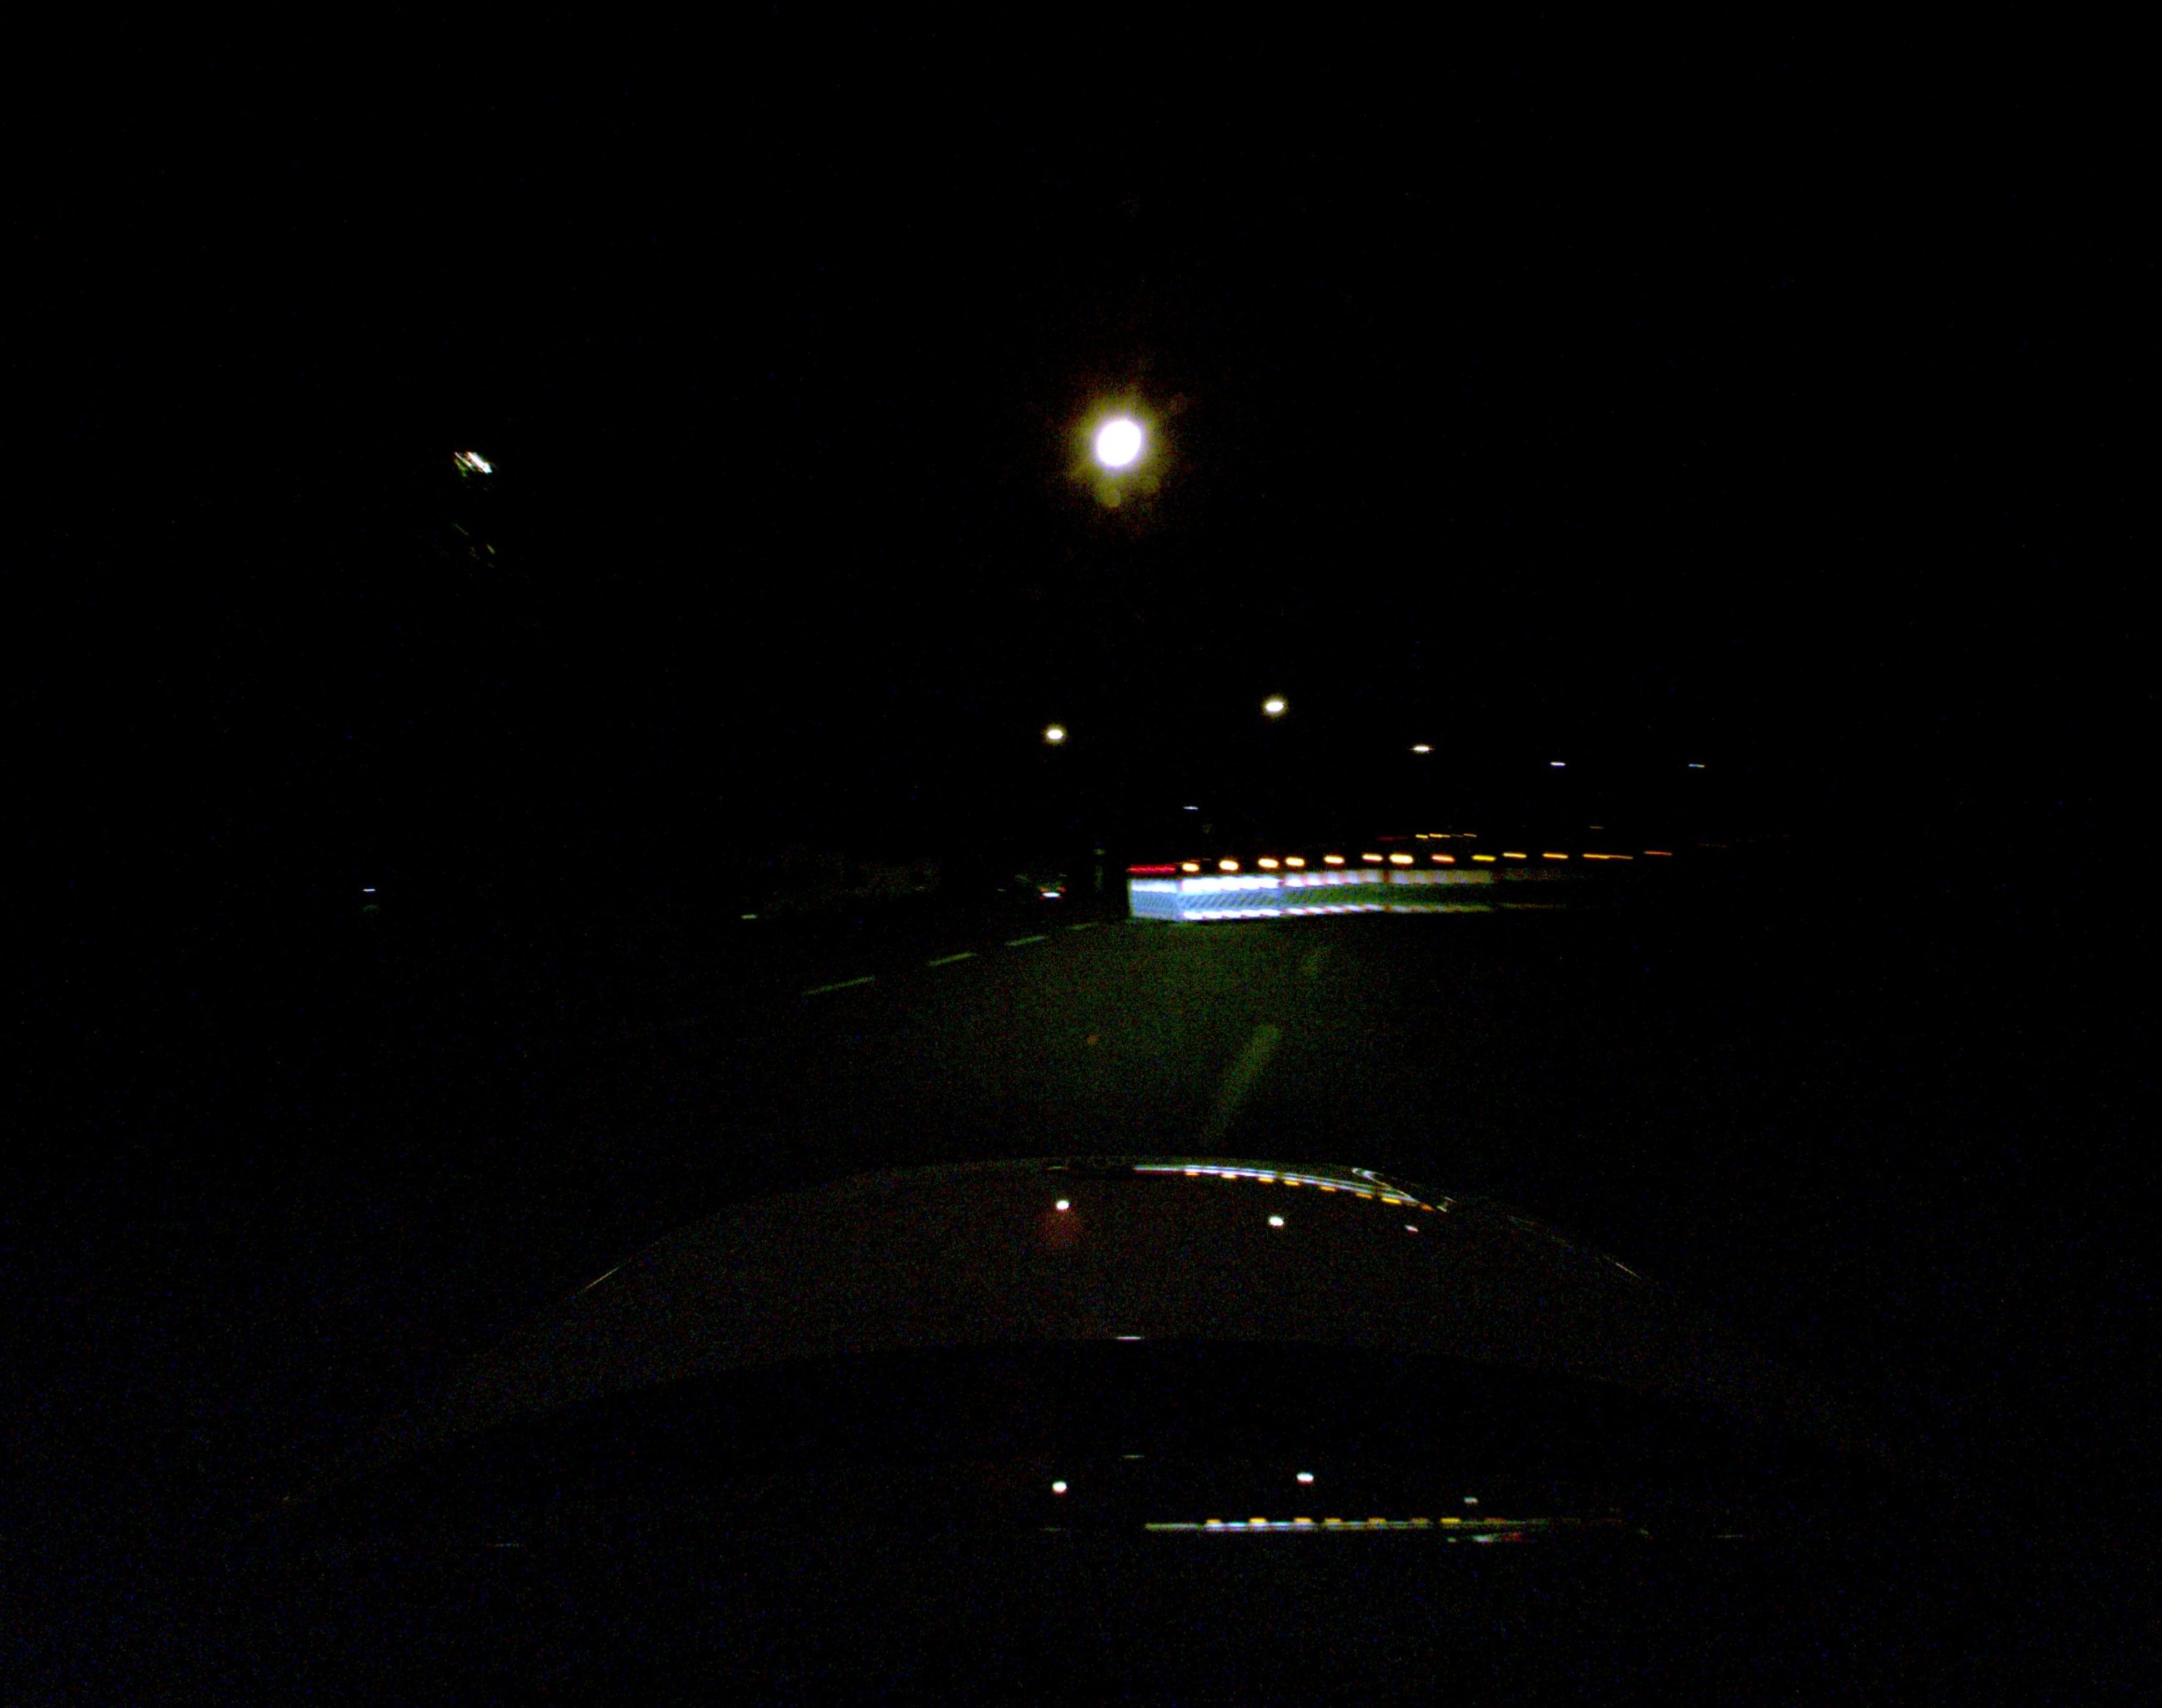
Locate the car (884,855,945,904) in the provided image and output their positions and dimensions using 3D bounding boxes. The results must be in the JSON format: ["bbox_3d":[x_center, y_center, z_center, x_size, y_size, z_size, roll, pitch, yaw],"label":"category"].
[{"bbox_3d":[-11.112,1.672,55.142,2.511,2.927,7.199,-3,-1,0],"label":"car"}]

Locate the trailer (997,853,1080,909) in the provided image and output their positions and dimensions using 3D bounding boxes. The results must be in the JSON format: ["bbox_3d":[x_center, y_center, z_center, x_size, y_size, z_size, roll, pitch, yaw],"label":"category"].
[{"bbox_3d":[-1.952,1.211,35.342,1.567,2.161,5.176,-3,-2,-26],"label":"trailer"}]

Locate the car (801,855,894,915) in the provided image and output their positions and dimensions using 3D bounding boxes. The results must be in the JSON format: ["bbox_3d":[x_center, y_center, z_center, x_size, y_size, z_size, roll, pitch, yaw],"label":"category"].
[{"bbox_3d":[-11.536,1.476,40.950,2.511,2.606,7.089,-3,-1,0],"label":"car"}]

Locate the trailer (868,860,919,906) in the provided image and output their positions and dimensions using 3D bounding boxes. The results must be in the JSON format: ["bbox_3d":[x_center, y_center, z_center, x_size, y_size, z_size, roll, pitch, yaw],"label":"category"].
[{"bbox_3d":[-11.011,1.663,48.059,1.986,2.527,3.568,-4,-1,1],"label":"trailer"}]

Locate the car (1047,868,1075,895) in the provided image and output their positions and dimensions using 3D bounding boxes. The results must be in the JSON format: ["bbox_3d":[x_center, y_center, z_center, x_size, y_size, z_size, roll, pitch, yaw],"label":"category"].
[{"bbox_3d":[-1.395,1.952,57.620,1.714,1.821,4.001,-1,-2,2],"label":"car"}]

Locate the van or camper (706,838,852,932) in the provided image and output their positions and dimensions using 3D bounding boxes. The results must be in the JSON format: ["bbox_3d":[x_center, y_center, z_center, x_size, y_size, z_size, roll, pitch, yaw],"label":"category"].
[{"bbox_3d":[-11.475,1.132,31.811,2.509,3.094,7.449,-3,-1,2],"label":"van or camper"}]

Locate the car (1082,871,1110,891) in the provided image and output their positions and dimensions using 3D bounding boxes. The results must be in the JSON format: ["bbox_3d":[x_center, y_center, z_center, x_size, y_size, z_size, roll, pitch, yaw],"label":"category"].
[{"bbox_3d":[1.467,2.601,78.603,1.707,1.821,4.017,-1,-2,16],"label":"car"}]

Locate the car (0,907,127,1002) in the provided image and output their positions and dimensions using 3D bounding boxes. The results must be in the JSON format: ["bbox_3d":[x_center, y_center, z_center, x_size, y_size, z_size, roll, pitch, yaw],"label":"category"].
[{"bbox_3d":[-32.307,3.015,23.485,1.975,2.554,5.912,-1,0,25],"label":"car"}]

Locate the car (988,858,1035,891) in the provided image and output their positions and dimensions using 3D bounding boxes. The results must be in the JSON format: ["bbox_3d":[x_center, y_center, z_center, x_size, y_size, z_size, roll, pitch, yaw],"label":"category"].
[{"bbox_3d":[-7.191,2.083,85.460,2.500,3.171,7.165,-4,-1,15],"label":"car"}]

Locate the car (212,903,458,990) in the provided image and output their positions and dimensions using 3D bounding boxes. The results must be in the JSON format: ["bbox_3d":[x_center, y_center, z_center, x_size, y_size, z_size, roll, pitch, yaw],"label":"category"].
[{"bbox_3d":[-28.390,3.390,31.419,1.975,2.554,6.719,-1,0,25],"label":"car"}]

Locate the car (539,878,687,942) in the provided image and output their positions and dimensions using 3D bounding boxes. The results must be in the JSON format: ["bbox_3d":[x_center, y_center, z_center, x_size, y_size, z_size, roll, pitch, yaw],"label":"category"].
[{"bbox_3d":[-24.107,2.784,42.403,1.975,2.842,6.719,-1,0,25],"label":"car"}]

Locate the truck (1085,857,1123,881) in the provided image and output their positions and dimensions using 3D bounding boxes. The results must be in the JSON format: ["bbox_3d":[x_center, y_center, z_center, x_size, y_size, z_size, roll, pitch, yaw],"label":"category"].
[{"bbox_3d":[3.444,2.148,119.030,1.975,3.404,9.031,-1,0,25],"label":"truck"}]

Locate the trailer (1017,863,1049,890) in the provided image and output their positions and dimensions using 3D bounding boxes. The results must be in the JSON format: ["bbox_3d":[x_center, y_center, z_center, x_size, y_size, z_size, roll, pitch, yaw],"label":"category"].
[{"bbox_3d":[-5.348,2.513,91.572,1.978,2.813,4.722,-2,-1,16],"label":"trailer"}]
